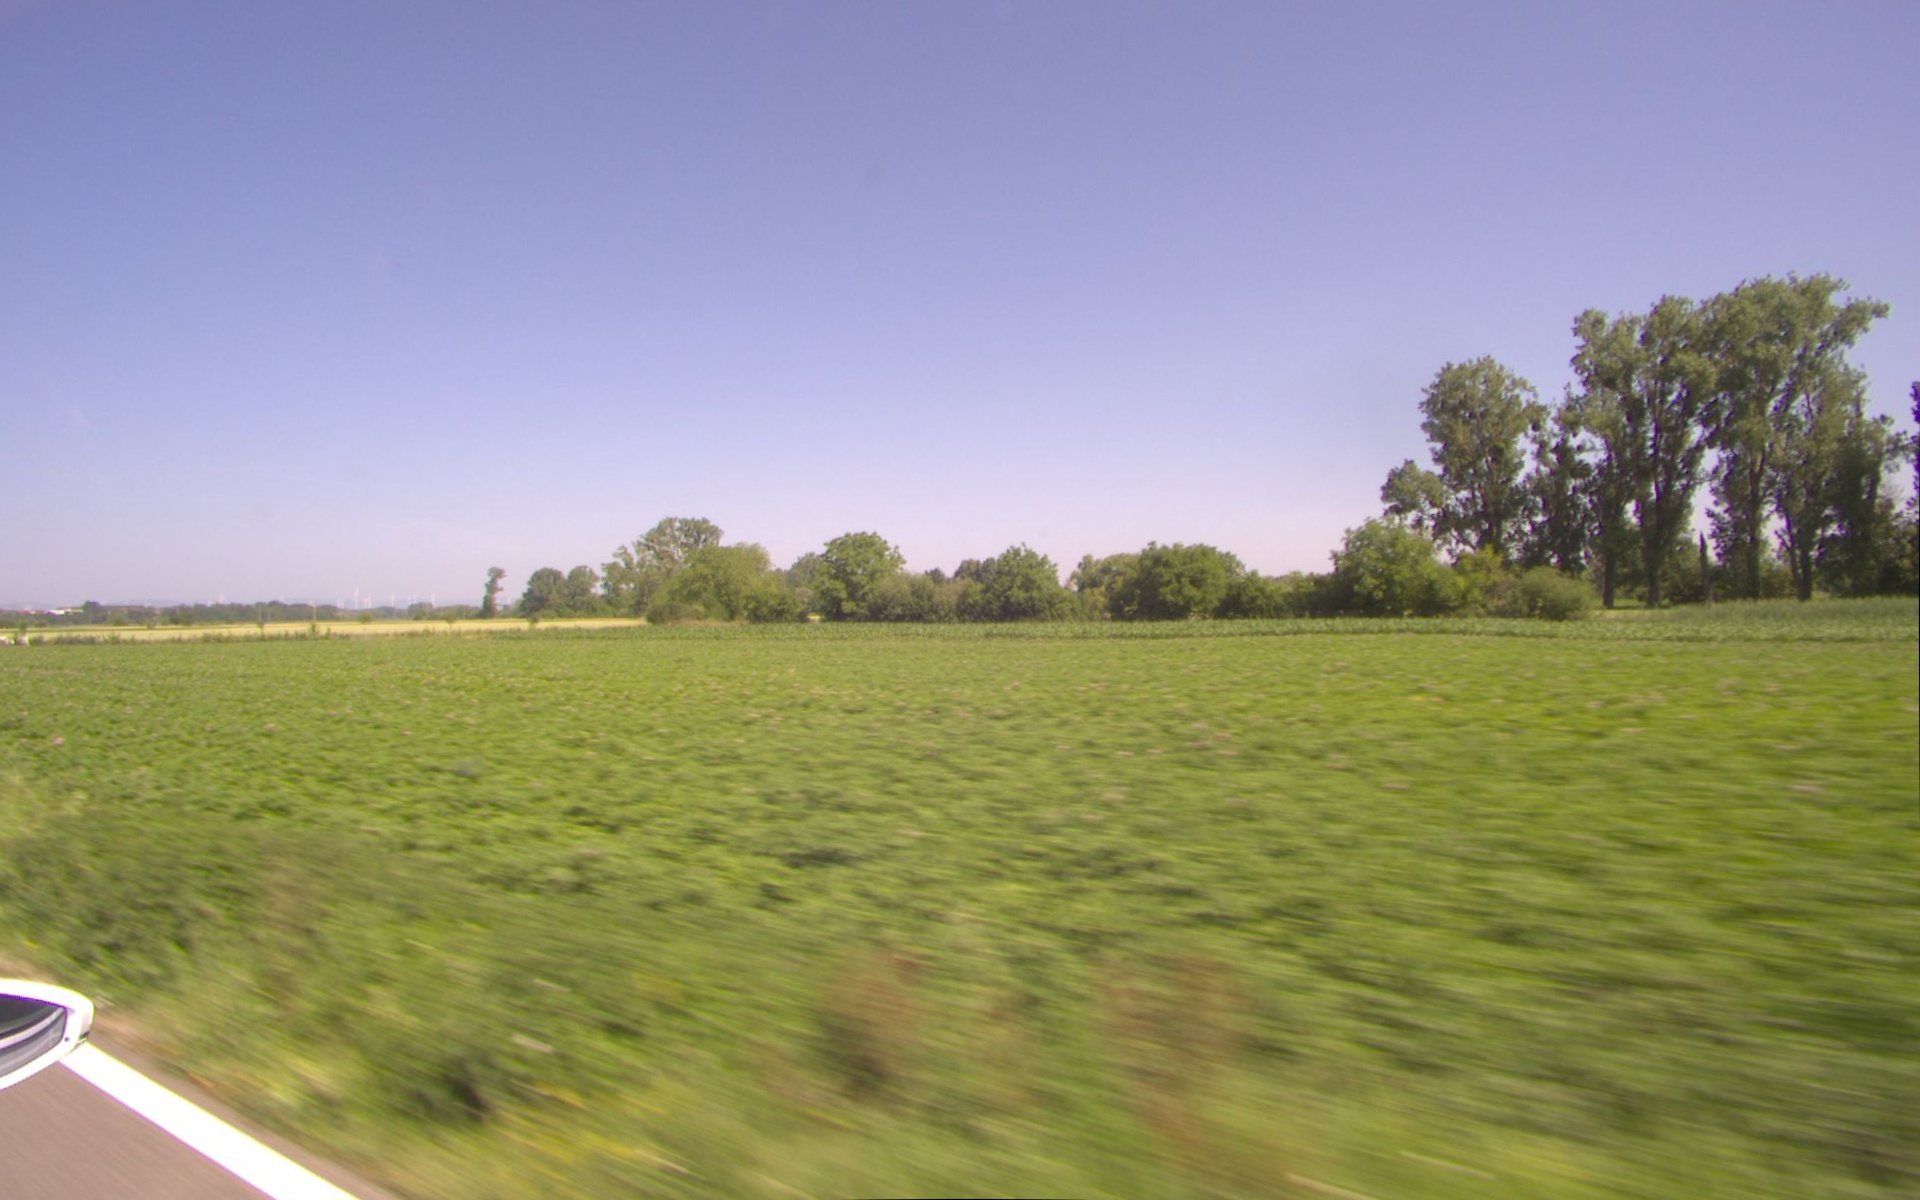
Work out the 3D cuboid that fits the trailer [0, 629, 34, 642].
[{"bbox_3d":[-91.277,3.422,96.067,1.646,1.204,3.565,-2,-3,44],"label":"trailer"}]
